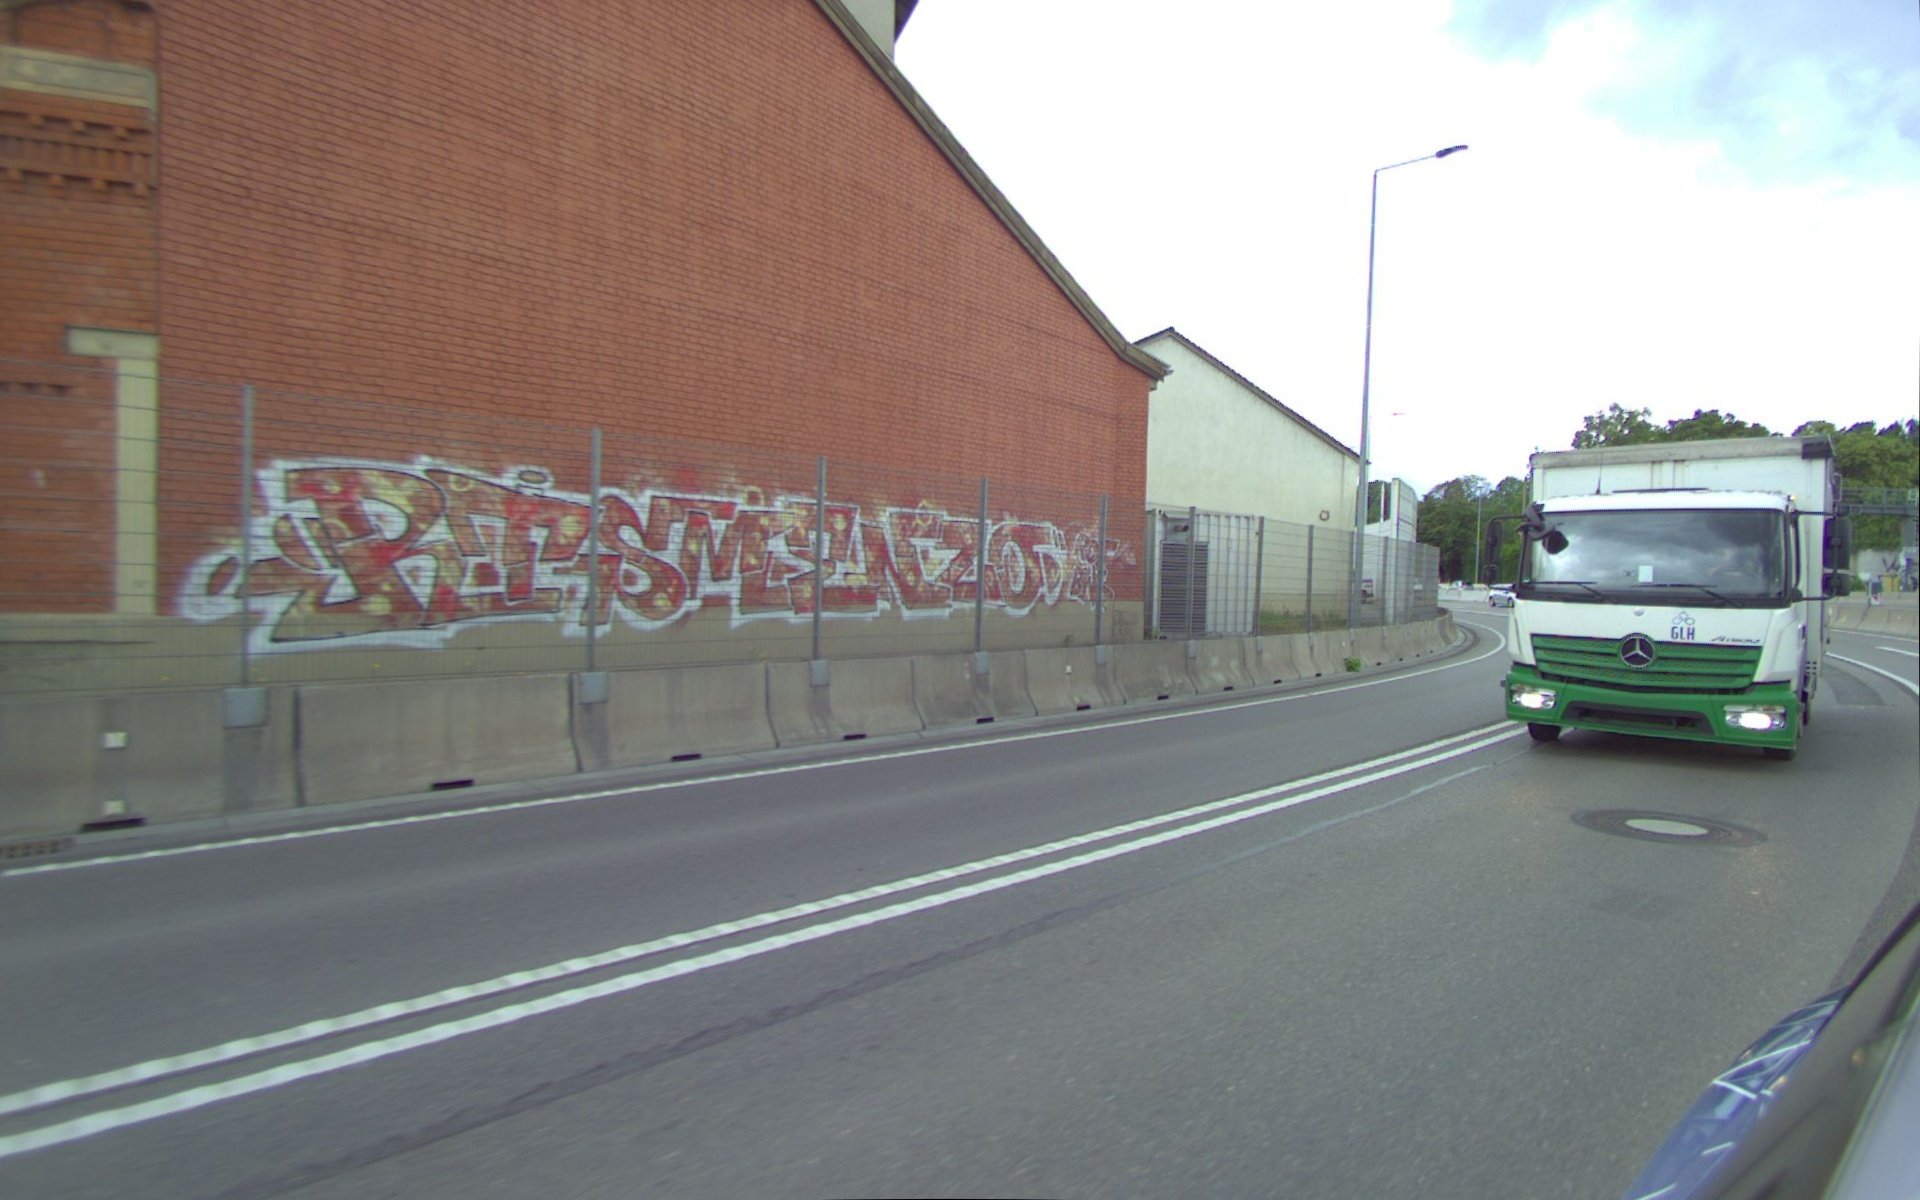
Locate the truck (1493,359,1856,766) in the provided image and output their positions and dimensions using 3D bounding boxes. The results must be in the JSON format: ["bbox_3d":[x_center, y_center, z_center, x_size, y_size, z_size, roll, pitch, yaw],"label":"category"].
[{"bbox_3d":[8.621,-0.320,11.782,2.627,3.280,7.305,-1,0,41],"label":"truck"}]
